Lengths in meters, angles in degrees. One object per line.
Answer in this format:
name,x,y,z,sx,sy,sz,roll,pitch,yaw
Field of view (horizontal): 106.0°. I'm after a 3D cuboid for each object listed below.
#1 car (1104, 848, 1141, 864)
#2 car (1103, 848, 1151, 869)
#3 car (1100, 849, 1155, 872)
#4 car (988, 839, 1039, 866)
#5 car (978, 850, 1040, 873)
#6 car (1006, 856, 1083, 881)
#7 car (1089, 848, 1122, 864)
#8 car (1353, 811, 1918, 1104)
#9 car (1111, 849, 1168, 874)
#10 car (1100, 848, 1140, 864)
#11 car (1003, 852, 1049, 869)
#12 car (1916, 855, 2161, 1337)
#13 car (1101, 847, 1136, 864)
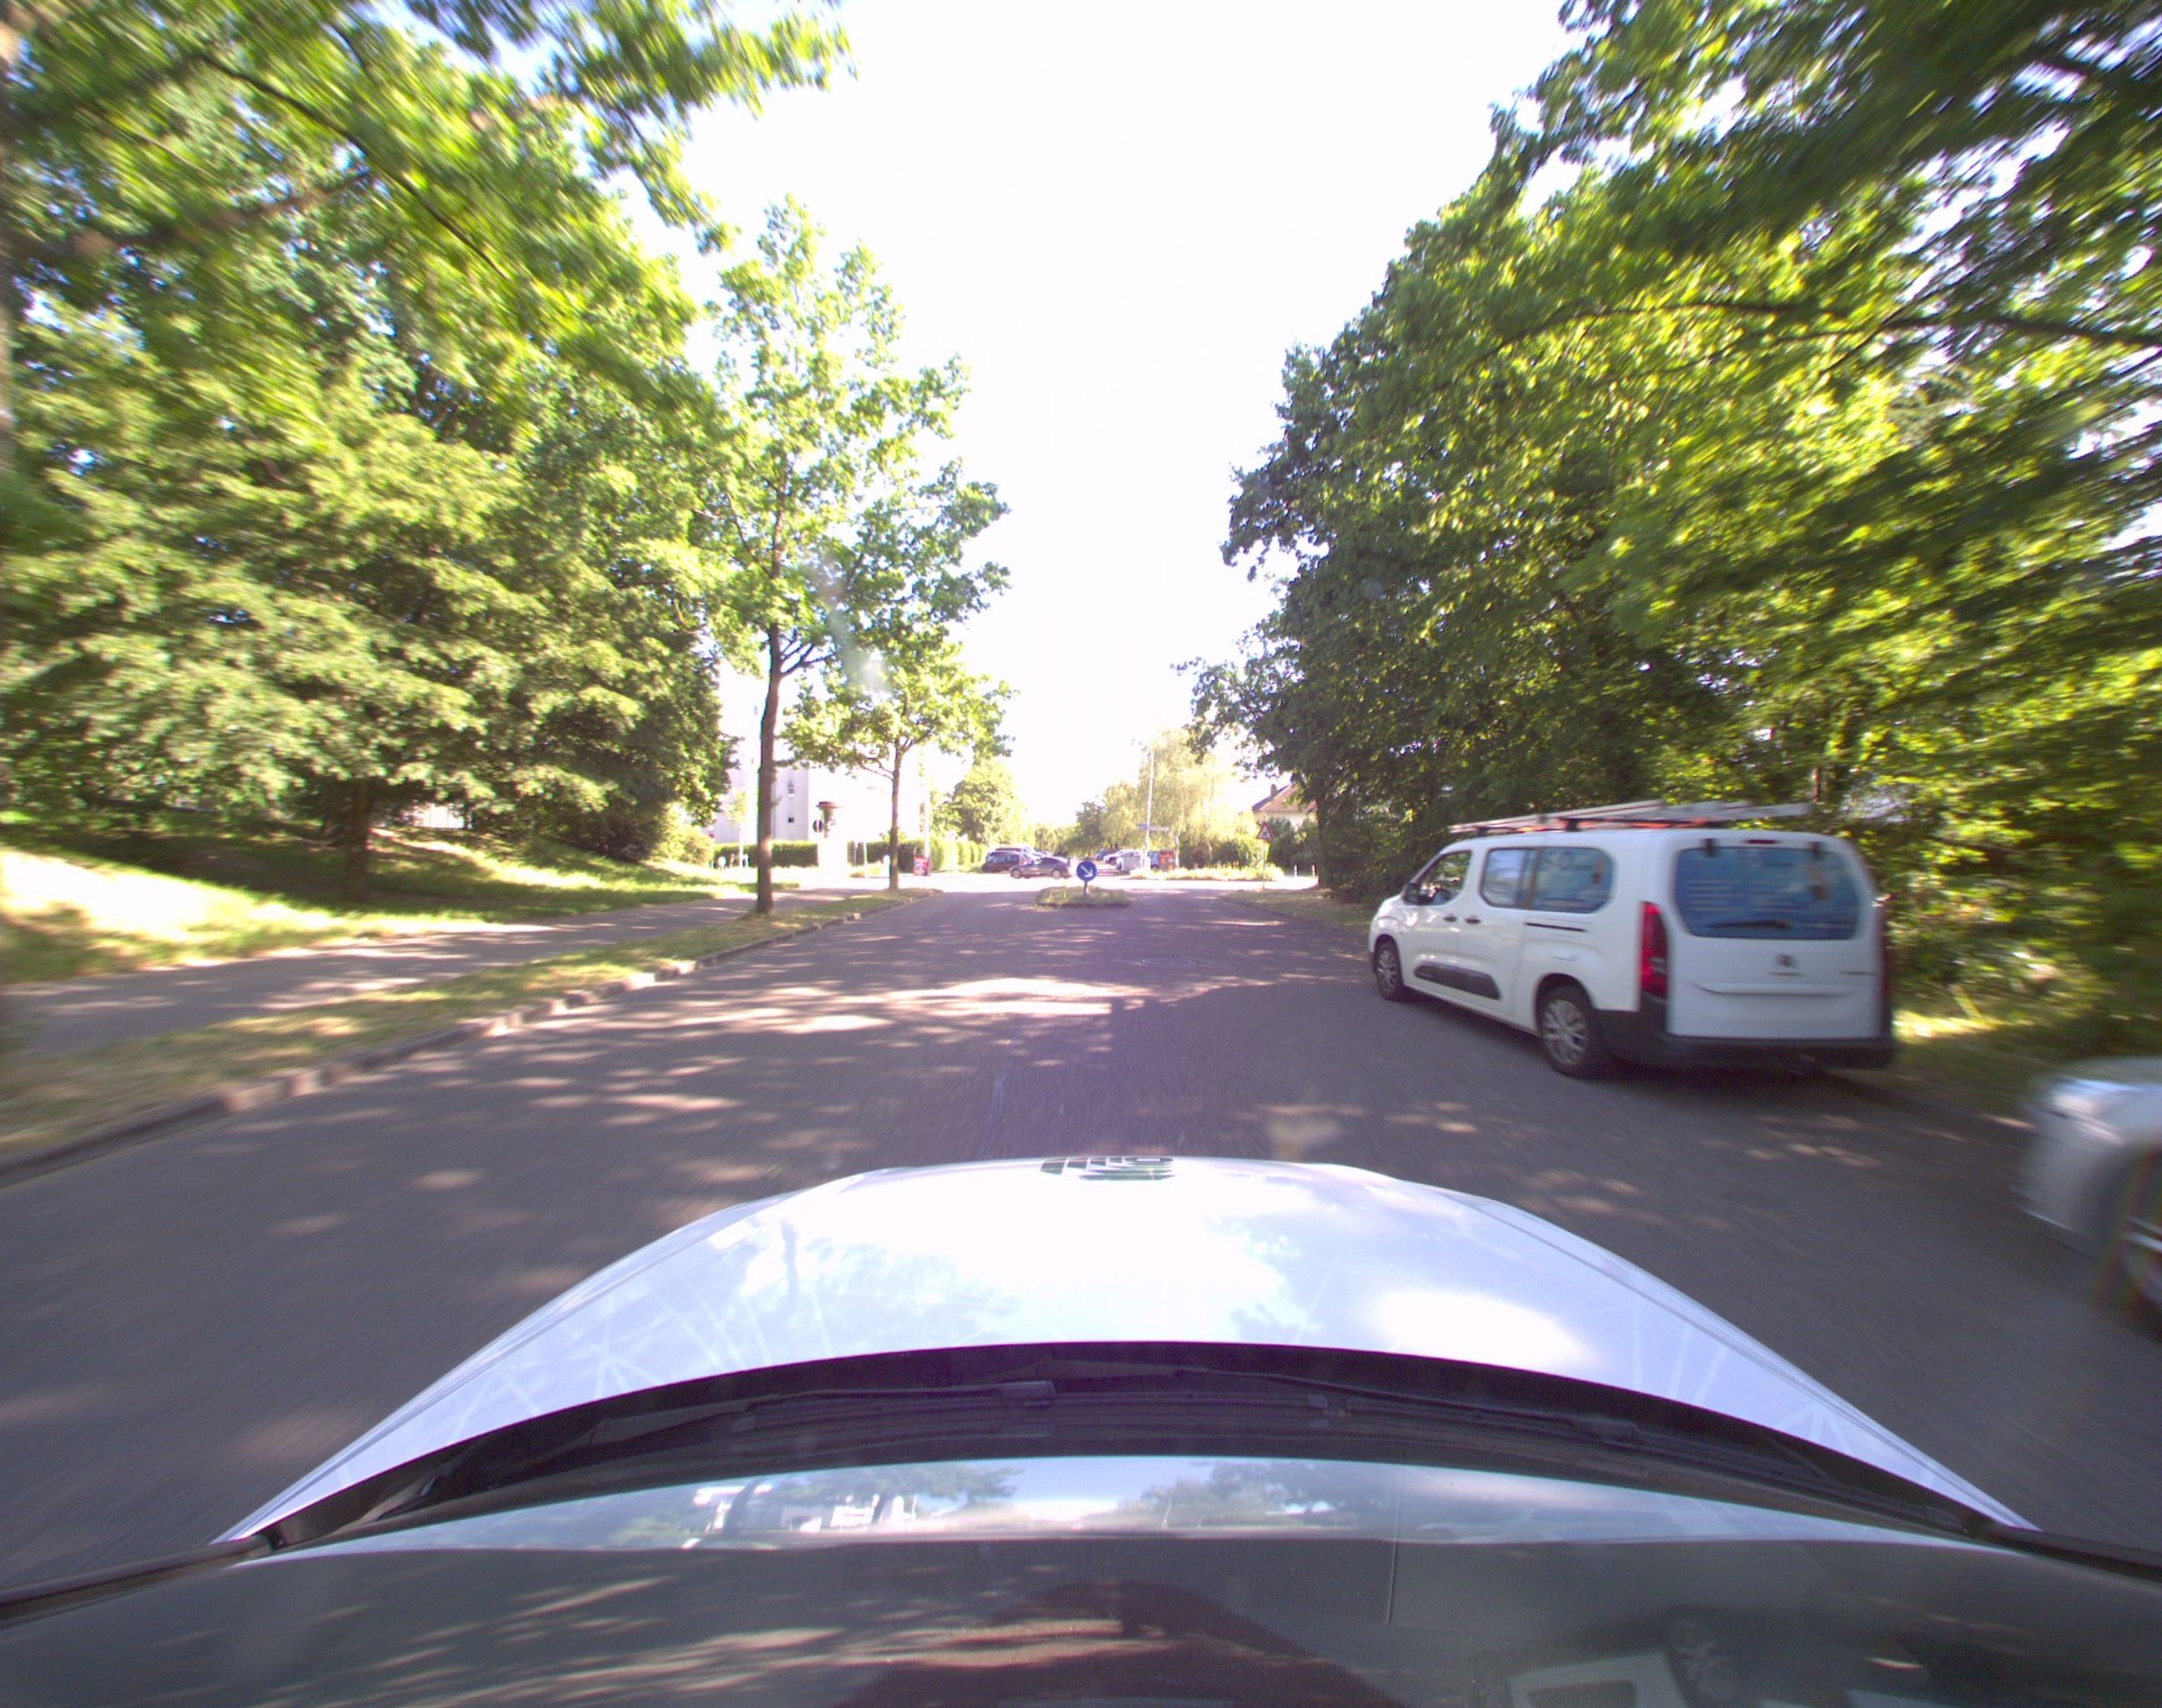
car,4.350,0.166,85.279,3.821,1.576,1.690,2,0,4
car,3.798,0.345,67.339,3.819,1.576,1.691,2,0,6
car,3.421,0.446,59.529,3.819,1.576,1.691,2,0,6
car,-7.151,-0.154,86.345,5.192,2.621,2.289,1,0,-5
car,-5.367,0.534,61.119,4.296,1.576,2.050,2,0,6
car,-2.346,0.898,52.643,4.504,1.434,2.056,2,0,20
car,2.900,0.225,96.398,3.821,1.796,1.690,1,0,4
car,4.223,0.646,7.321,1.787,1.785,4.551,1,0,-3
car,4.080,0.516,56.713,3.819,1.576,1.691,2,0,6
car,3.939,0.207,82.144,3.819,1.576,1.691,2,0,6
car,-5.199,0.608,77.423,4.091,1.576,1.959,1,0,1
car,4.254,0.787,1.225,1.686,1.512,4.206,1,0,0
car,4.194,0.132,91.478,3.821,1.796,1.690,1,0,4
